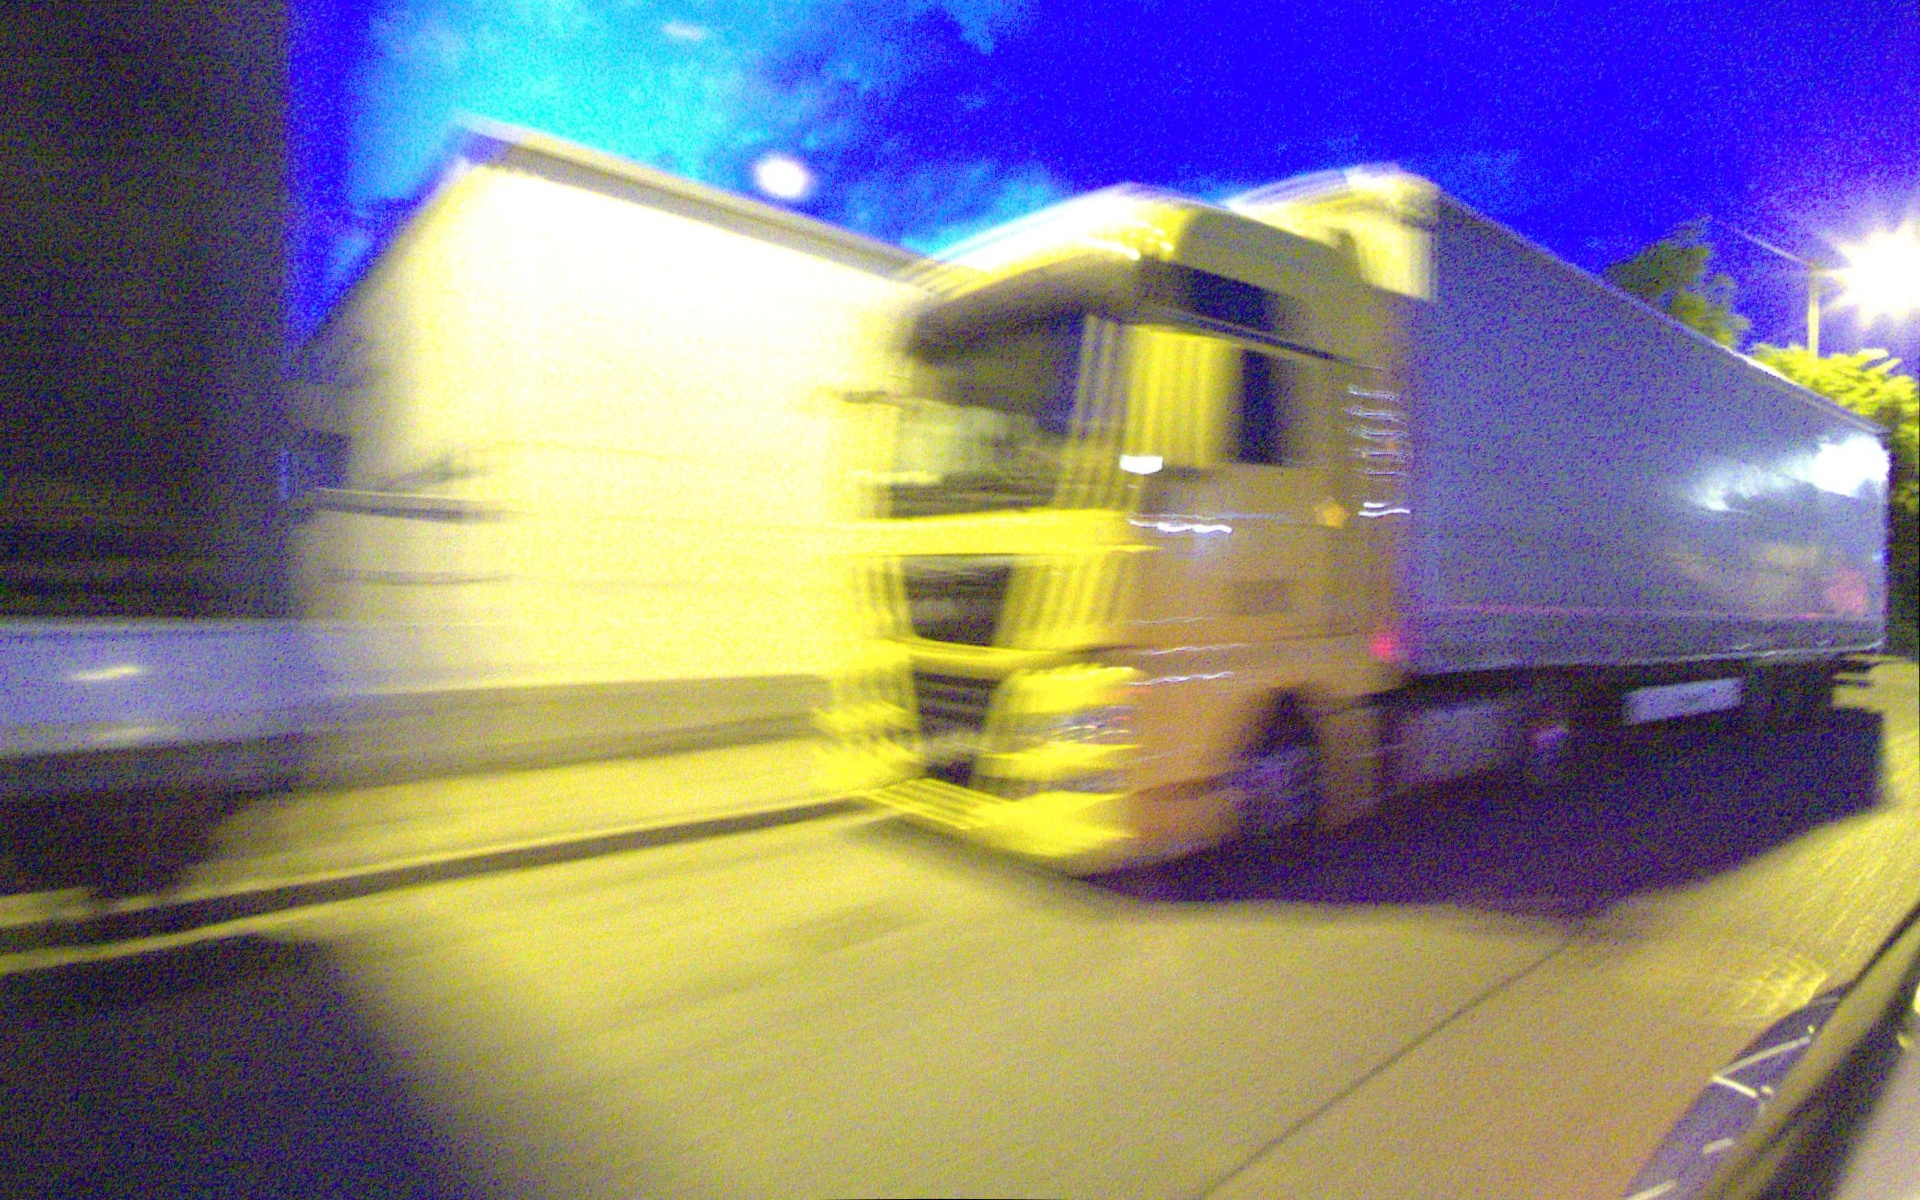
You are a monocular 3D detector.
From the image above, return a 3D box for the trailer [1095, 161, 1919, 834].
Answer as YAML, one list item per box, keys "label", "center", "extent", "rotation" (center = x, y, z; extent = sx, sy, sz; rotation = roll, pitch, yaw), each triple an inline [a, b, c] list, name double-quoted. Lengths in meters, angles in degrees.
- label: "trailer"
  center: [7.391, -0.681, 11.377]
  extent: [13.717, 4.033, 2.816]
  rotation: [-1, 1, -38]

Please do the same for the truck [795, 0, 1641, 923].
- label: "truck"
  center: [2.129, -0.683, 7.250]
  extent: [5.939, 4.033, 2.838]
  rotation: [0, 1, -38]

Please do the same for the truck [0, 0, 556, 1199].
- label: "truck"
  center: [-5.858, -0.668, 0.523]
  extent: [10.158, 4.033, 2.836]
  rotation: [-1, 1, -40]
